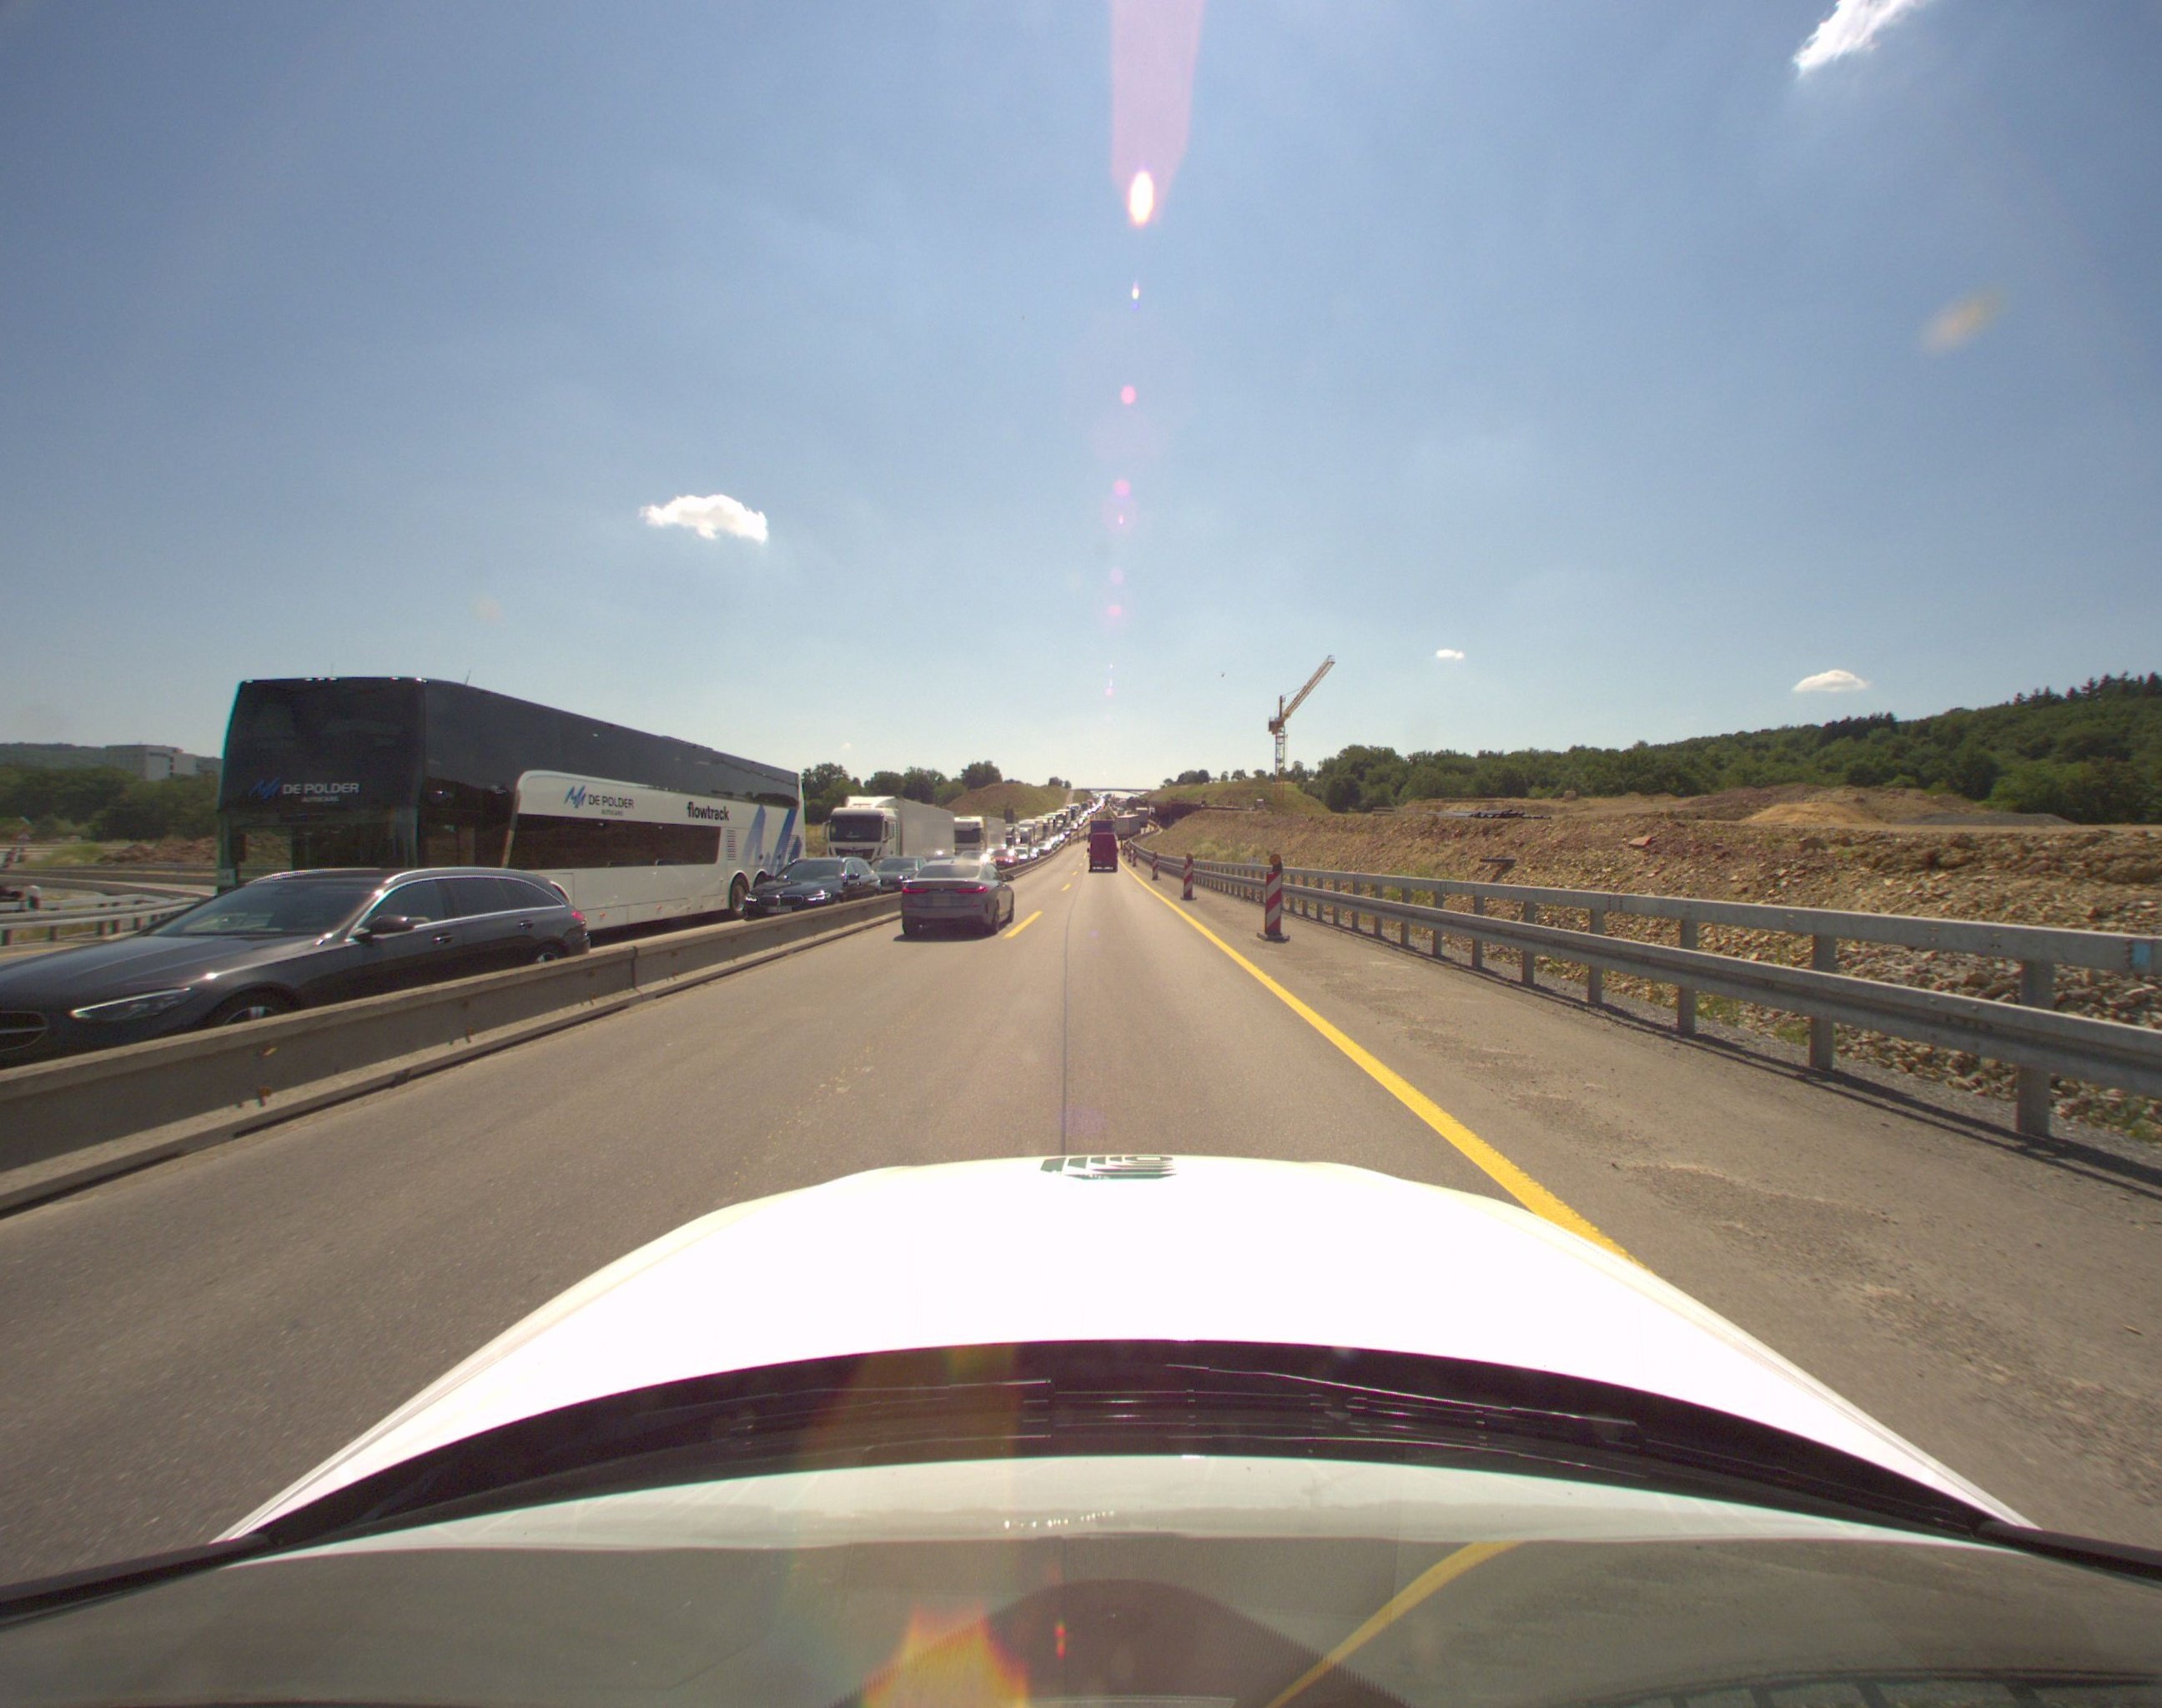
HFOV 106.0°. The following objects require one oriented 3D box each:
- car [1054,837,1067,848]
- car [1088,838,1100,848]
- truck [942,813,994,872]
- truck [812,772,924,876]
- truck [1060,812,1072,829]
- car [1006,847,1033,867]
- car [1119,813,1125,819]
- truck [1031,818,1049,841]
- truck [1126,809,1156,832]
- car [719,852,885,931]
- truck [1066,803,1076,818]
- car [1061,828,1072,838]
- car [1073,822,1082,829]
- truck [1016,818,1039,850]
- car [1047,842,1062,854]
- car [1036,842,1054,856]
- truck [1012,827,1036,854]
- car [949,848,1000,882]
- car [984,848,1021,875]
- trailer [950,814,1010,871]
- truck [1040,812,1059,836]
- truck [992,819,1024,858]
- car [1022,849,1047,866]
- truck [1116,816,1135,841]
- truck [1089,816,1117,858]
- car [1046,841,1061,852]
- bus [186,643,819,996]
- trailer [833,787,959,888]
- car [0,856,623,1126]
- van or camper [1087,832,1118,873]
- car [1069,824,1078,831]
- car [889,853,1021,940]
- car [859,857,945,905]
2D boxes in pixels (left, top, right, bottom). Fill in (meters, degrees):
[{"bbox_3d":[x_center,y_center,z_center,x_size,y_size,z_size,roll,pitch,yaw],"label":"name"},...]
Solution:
[{"bbox_3d":[-3.399,-1.862,133.549,1.987,1.783,4.000,-1,0,0],"label":"car"},{"bbox_3d":[2.145,-1.886,134.648,2.005,1.544,4.132,-1,2,0],"label":"car"},{"bbox_3d":[-8.326,-0.856,60.834,2.967,4.184,5.875,-1,1,0],"label":"truck"},{"bbox_3d":[-9.268,-1.291,36.309,3.086,4.197,6.703,-1,1,1],"label":"truck"},{"bbox_3d":[-3.323,-7.444,182.693,2.675,3.838,7.385,-1,2,-1],"label":"truck"},{"bbox_3d":[-5.030,0.196,66.919,1.820,1.574,4.001,-1,0,1],"label":"car"},{"bbox_3d":[12.802,-11.952,254.308,1.945,1.641,4.268,-1,0,1],"label":"car"},{"bbox_3d":[-6.871,-4.121,138.292,2.774,3.869,5.460,-1,0,0],"label":"truck"},{"bbox_3d":[14.455,-7.958,193.849,5.126,4.996,13.924,-3,1,12],"label":"truck"},{"bbox_3d":[-6.052,0.732,18.432,1.911,1.423,5.092,0,1,1],"label":"car"},{"bbox_3d":[-2.909,-12.477,233.780,2.879,3.838,8.001,-1,2,-1],"label":"truck"},{"bbox_3d":[-2.744,-3.852,151.691,1.987,1.782,4.000,-1,2,0],"label":"car"},{"bbox_3d":[-0.837,-6.924,197.054,1.945,1.530,4.269,-1,2,1],"label":"car"},{"bbox_3d":[-7.356,-2.754,112.484,2.541,4.230,6.533,-1,2,1],"label":"truck"},{"bbox_3d":[-3.641,-0.809,111.989,1.820,1.535,4.547,-2,0,1],"label":"car"},{"bbox_3d":[-4.188,-0.607,96.272,1.820,1.651,4.547,-1,0,1],"label":"car"},{"bbox_3d":[-7.113,-1.750,101.674,2.426,3.147,7.024,-1,2,0],"label":"truck"},{"bbox_3d":[-5.598,0.546,43.407,1.987,1.620,4.882,-1,0,0],"label":"car"},{"bbox_3d":[-5.289,0.489,55.513,1.987,1.631,4.759,1,2,0],"label":"car"},{"bbox_3d":[-8.207,-0.981,68.141,2.975,4.208,13.950,-1,1,1],"label":"trailer"},{"bbox_3d":[-5.957,-5.694,156.859,3.039,4.480,5.986,-1,2,3],"label":"truck"},{"bbox_3d":[-7.671,-1.678,86.373,2.516,3.855,8.672,0,1,1],"label":"truck"},{"bbox_3d":[-4.419,0.272,78.262,1.986,1.557,4.340,-1,0,2],"label":"car"},{"bbox_3d":[7.817,-4.498,143.999,3.028,4.100,7.086,-1,0,1],"label":"truck"},{"bbox_3d":[2.542,-2.084,96.383,3.011,4.692,6.933,-2,2,0],"label":"truck"},{"bbox_3d":[-4.167,-1.154,122.373,1.896,1.376,4.548,-3,2,1],"label":"car"},{"bbox_3d":[-9.365,-0.468,17.153,2.730,4.263,14.478,-1,0,1],"label":"bus"},{"bbox_3d":[-9.189,-0.845,42.781,3.130,4.383,14.081,-1,1,1],"label":"trailer"},{"bbox_3d":[-6.276,0.774,6.961,1.831,1.443,4.931,-1,0,1],"label":"car"},{"bbox_3d":[1.493,-0.172,57.483,2.023,2.743,4.515,0,2,-1],"label":"van or camper"},{"bbox_3d":[-1.594,-5.725,174.585,1.740,1.408,4.002,-1,2,1],"label":"car"},{"bbox_3d":[-2.407,0.754,16.824,1.845,1.452,4.744,-1,1,1],"label":"car"},{"bbox_3d":[-5.946,0.846,27.554,1.826,1.423,4.683,-1,0,0],"label":"car"}]
